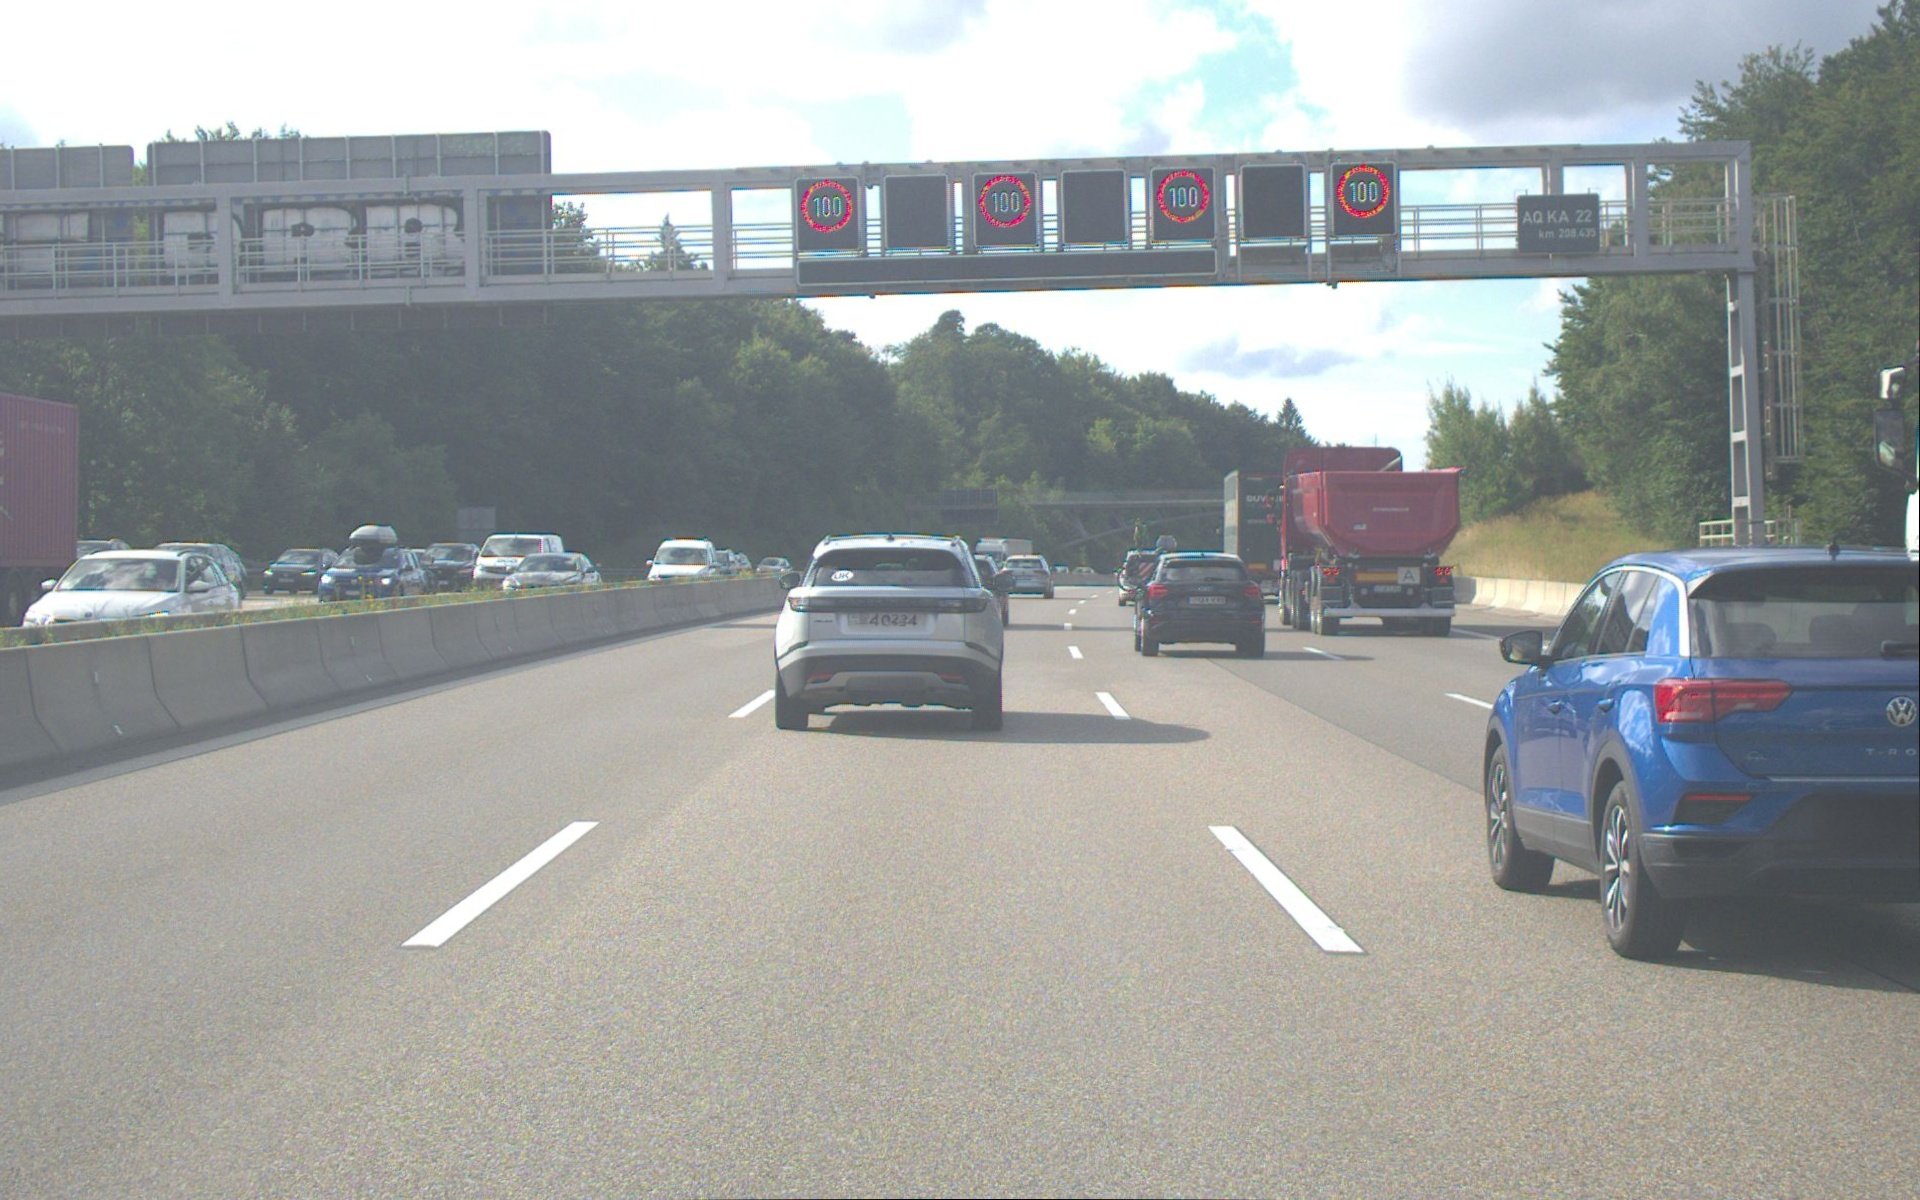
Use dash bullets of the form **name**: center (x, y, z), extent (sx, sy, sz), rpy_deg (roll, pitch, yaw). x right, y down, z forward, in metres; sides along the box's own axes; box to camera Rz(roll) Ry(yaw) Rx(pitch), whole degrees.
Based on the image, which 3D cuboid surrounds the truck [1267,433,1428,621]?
- **truck**: center (7.954, -1.499, 71.168), extent (2.710, 3.706, 5.817), rpy_deg (1, 1, 1)

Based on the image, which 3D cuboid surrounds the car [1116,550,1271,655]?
- **car**: center (3.405, 0.004, 50.754), extent (1.822, 1.452, 4.001), rpy_deg (1, 1, -3)

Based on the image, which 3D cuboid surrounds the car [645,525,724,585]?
- **car**: center (-7.823, -1.288, 97.946), extent (1.769, 1.643, 4.519), rpy_deg (1, 1, 1)

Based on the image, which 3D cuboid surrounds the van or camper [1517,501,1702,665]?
- **van or camper**: center (9.576, -0.279, 51.029), extent (1.822, 2.299, 4.939), rpy_deg (0, 1, 0)

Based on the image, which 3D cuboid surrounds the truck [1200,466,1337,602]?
- **truck**: center (9.343, -2.011, 105.377), extent (3.118, 3.921, 10.411), rpy_deg (1, 1, 0)

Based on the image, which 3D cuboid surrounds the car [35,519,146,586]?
- **car**: center (-21.232, -1.165, 84.079), extent (1.816, 1.607, 4.147), rpy_deg (0, 1, -2)

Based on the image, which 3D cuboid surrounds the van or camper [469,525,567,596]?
- **van or camper**: center (-11.885, -1.080, 92.719), extent (1.862, 1.844, 5.155), rpy_deg (1, 1, 1)

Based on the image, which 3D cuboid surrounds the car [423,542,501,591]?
- **car**: center (-14.870, -1.008, 102.792), extent (1.638, 1.411, 4.000), rpy_deg (1, 1, 2)

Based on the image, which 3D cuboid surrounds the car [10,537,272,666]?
- **car**: center (-9.746, -0.017, 41.281), extent (1.770, 1.437, 4.850), rpy_deg (1, 1, 3)

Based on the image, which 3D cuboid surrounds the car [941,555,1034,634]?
- **car**: center (0.542, -0.137, 70.115), extent (1.822, 1.541, 4.000), rpy_deg (1, 1, 0)

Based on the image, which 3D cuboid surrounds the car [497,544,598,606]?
- **car**: center (-9.470, -0.602, 79.179), extent (1.793, 1.370, 4.549), rpy_deg (1, 1, 0)

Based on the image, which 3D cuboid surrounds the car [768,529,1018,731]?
- **car**: center (-0.599, 0.197, 30.515), extent (2.006, 1.611, 5.301), rpy_deg (1, 1, -1)

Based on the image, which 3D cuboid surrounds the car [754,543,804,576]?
- **car**: center (-9.638, -2.179, 183.526), extent (1.929, 1.710, 4.422), rpy_deg (1, 1, 6)

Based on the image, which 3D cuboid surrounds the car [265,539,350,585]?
- **car**: center (-20.685, -1.214, 109.174), extent (1.701, 1.435, 4.707), rpy_deg (1, 1, 1)

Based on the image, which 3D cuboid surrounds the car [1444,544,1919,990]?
- **car**: center (3.227, 0.572, 14.048), extent (1.773, 1.525, 4.458), rpy_deg (0, 0, -1)

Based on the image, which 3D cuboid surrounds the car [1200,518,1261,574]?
- **car**: center (9.248, -1.845, 117.855), extent (1.894, 1.850, 4.100), rpy_deg (1, 1, 2)

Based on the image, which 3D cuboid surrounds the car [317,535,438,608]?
- **car**: center (-12.752, -0.636, 75.540), extent (1.698, 1.523, 4.684), rpy_deg (1, 1, 2)

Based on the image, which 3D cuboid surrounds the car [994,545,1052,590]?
- **car**: center (2.115, -1.092, 115.012), extent (1.822, 1.452, 4.000), rpy_deg (1, 0, 3)

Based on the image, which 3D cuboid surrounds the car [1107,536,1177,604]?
- **car**: center (5.162, -0.867, 97.786), extent (1.894, 1.850, 4.100), rpy_deg (1, 1, 2)

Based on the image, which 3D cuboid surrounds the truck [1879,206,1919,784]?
- **truck**: center (7.652, -0.662, 20.600), extent (2.649, 3.810, 6.082), rpy_deg (0, 1, 0)

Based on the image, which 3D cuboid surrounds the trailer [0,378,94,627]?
- **trailer**: center (-17.119, -1.597, 55.473), extent (2.739, 4.092, 13.417), rpy_deg (1, 1, 1)

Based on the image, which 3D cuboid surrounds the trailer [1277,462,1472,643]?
- **trailer**: center (7.872, -0.944, 66.446), extent (2.710, 3.220, 9.733), rpy_deg (1, 1, 1)
